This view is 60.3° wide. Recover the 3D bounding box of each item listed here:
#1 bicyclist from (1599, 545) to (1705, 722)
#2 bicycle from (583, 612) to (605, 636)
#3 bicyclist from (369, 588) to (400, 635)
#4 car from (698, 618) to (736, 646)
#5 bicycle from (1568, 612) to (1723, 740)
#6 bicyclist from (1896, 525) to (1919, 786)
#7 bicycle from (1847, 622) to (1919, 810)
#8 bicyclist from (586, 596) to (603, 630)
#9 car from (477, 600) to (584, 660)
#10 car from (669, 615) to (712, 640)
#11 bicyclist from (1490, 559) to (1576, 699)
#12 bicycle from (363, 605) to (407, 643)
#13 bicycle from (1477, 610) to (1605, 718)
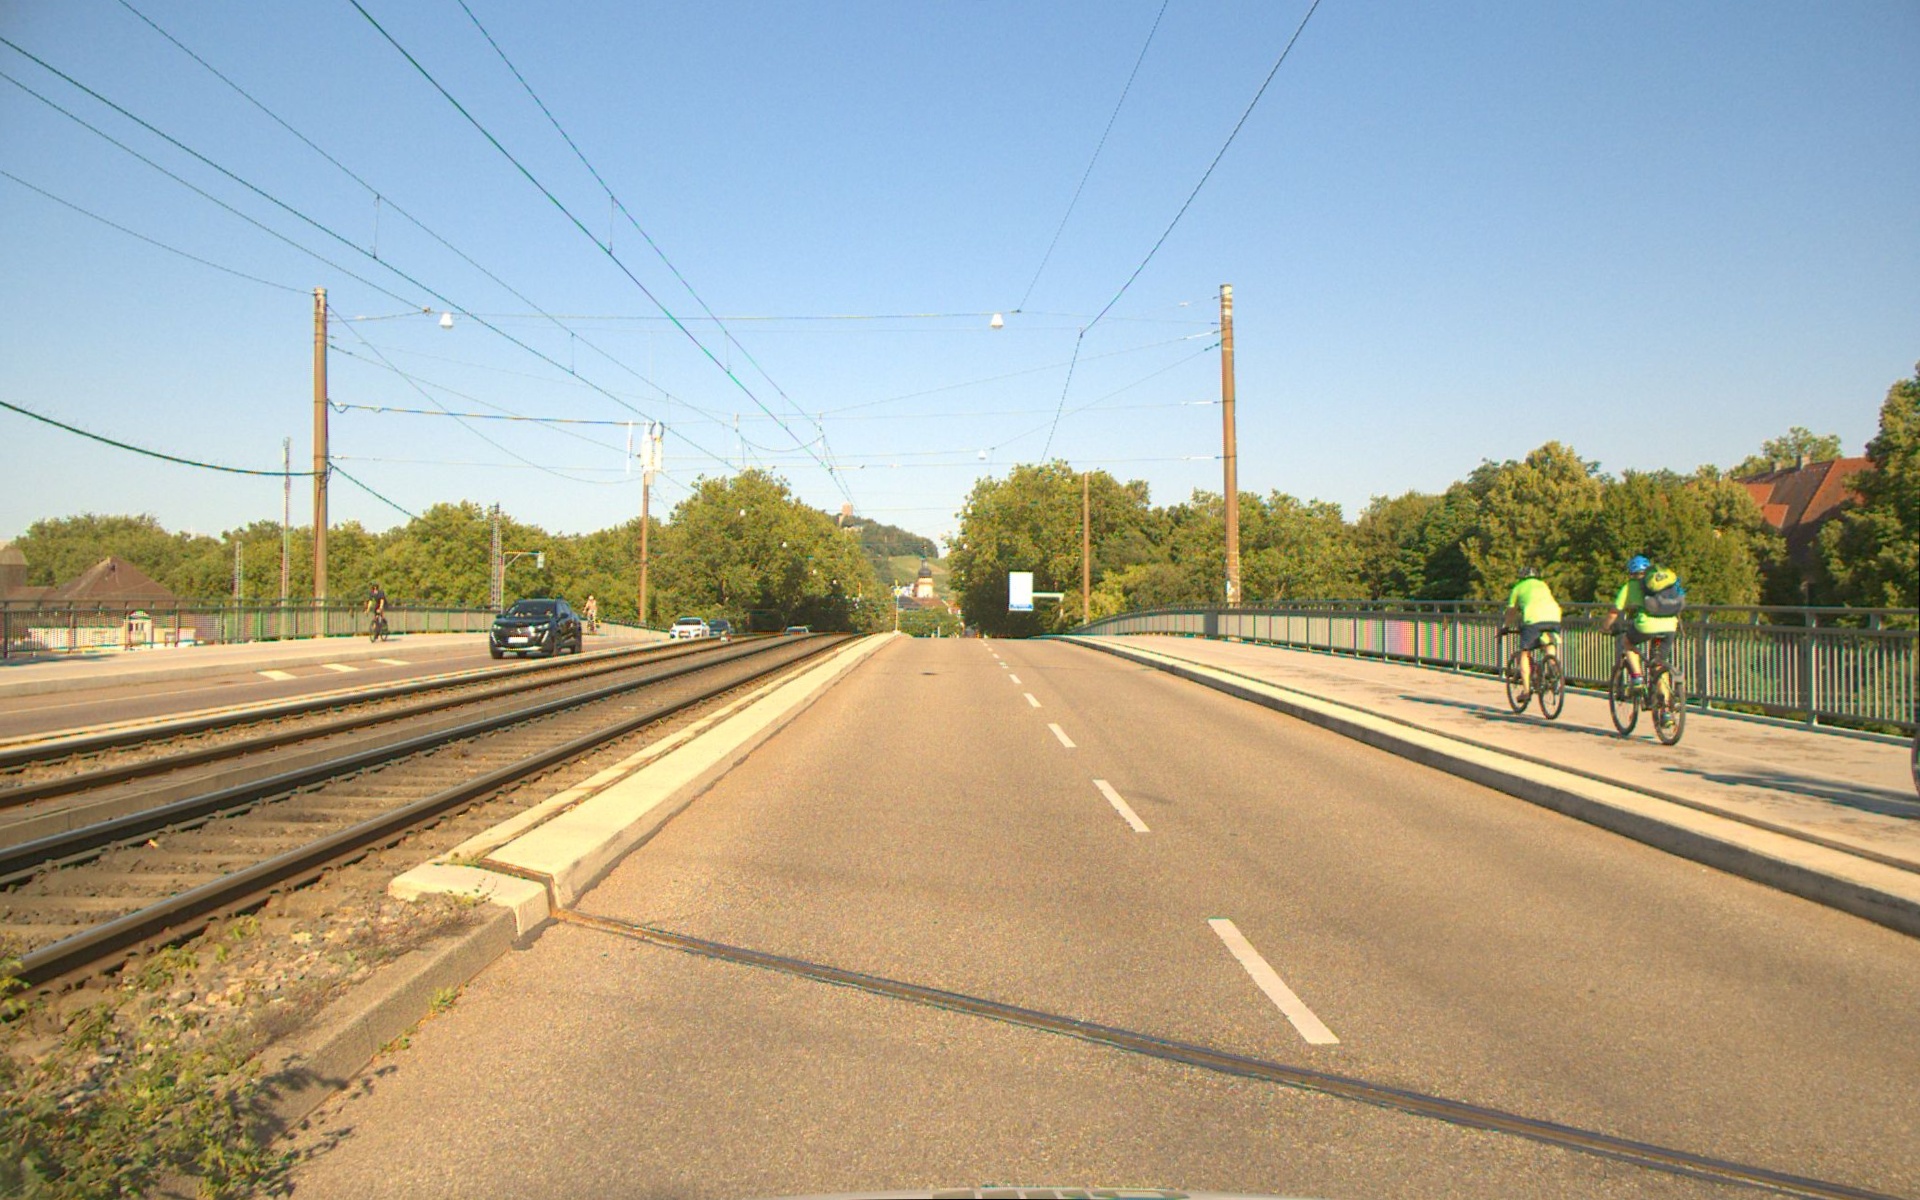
[{"bbox_3d":[6.536,0.317,15.658,0.612,1.620,0.930,0,-1,-1],"label":"bicyclist"},{"bbox_3d":[-17.991,1.193,81.314,0.612,1.142,2.259,0,-1,-1],"label":"bicycle"},{"bbox_3d":[-17.813,0.360,51.171,0.612,1.458,0.968,0,-1,-1],"label":"bicyclist"},{"bbox_3d":[-15.397,2.019,104.968,1.743,1.679,4.446,0,-1,-1],"label":"car"},{"bbox_3d":[6.532,0.701,15.870,0.612,1.142,2.041,0,-1,-1],"label":"bicycle"},{"bbox_3d":[6.268,0.343,9.916,0.795,1.590,0.896,0,0,-1],"label":"bicyclist"},{"bbox_3d":[6.274,0.729,9.934,0.669,1.142,2.216,0,0,-1],"label":"bicycle"},{"bbox_3d":[-17.985,0.639,81.308,0.612,1.662,0.935,0,-1,-1],"label":"bicyclist"},{"bbox_3d":[-11.491,0.797,44.532,1.811,1.528,4.218,0,-1,-1],"label":"car"},{"bbox_3d":[-15.203,1.558,93.380,1.649,1.380,4.919,0,-1,-1],"label":"car"},{"bbox_3d":[6.484,0.325,18.750,0.612,1.534,1.006,0,-1,-1],"label":"bicyclist"},{"bbox_3d":[-17.817,0.740,51.294,0.612,1.142,2.259,0,-1,-1],"label":"bicycle"},{"bbox_3d":[6.490,0.683,18.589,0.612,1.142,2.259,0,-1,-1],"label":"bicycle"}]
